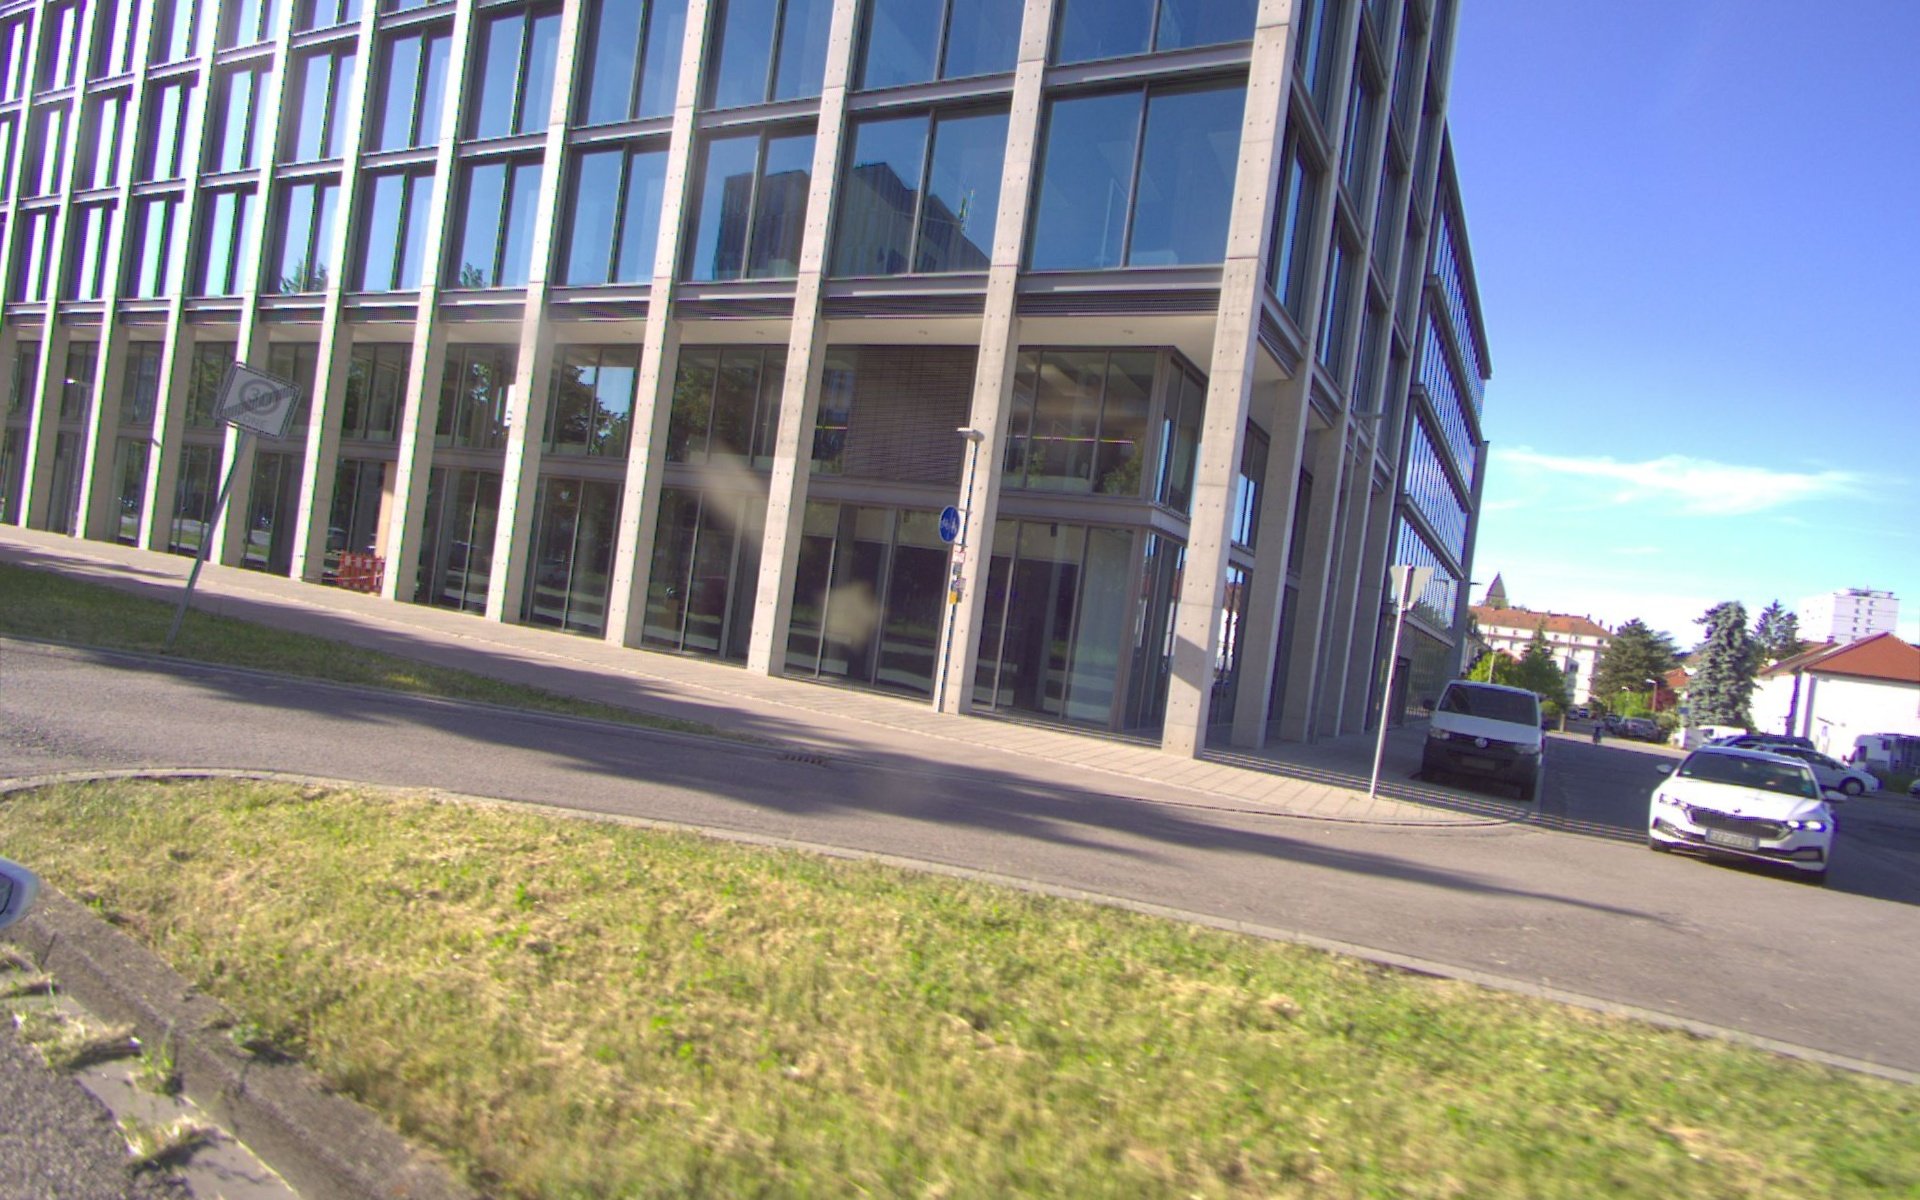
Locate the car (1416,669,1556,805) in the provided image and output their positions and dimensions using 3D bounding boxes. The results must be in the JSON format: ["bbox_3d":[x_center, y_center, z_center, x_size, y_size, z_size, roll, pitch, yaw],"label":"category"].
[{"bbox_3d":[10.173,2.536,19.427,1.905,2.005,5.079,8,-1,29],"label":"car"}]

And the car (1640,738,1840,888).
[{"bbox_3d":[10.575,2.717,13.545,1.749,1.409,4.510,5,-3,41],"label":"car"}]

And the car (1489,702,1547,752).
[{"bbox_3d":[21.599,4.867,38.943,1.719,1.570,3.843,6,-2,30],"label":"car"}]

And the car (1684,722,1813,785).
[{"bbox_3d":[33.919,6.562,43.398,3.930,1.871,1.675,8,0,28],"label":"car"}]

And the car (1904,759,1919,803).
[{"bbox_3d":[36.587,6.833,35.794,3.930,1.484,1.675,8,-1,28],"label":"car"}]

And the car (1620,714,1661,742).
[{"bbox_3d":[48.760,9.168,72.145,1.824,1.659,3.821,6,-2,28],"label":"car"}]

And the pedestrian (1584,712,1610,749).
[{"bbox_3d":[35.035,7.168,55.348,0.947,1.853,1.196,6,-1,27],"label":"pedestrian"}]

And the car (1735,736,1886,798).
[{"bbox_3d":[31.958,6.254,37.965,3.930,1.481,1.675,8,-1,28],"label":"car"}]

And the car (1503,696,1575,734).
[{"bbox_3d":[40.201,7.952,69.956,3.927,2.037,2.000,6,-1,23],"label":"car"}]
